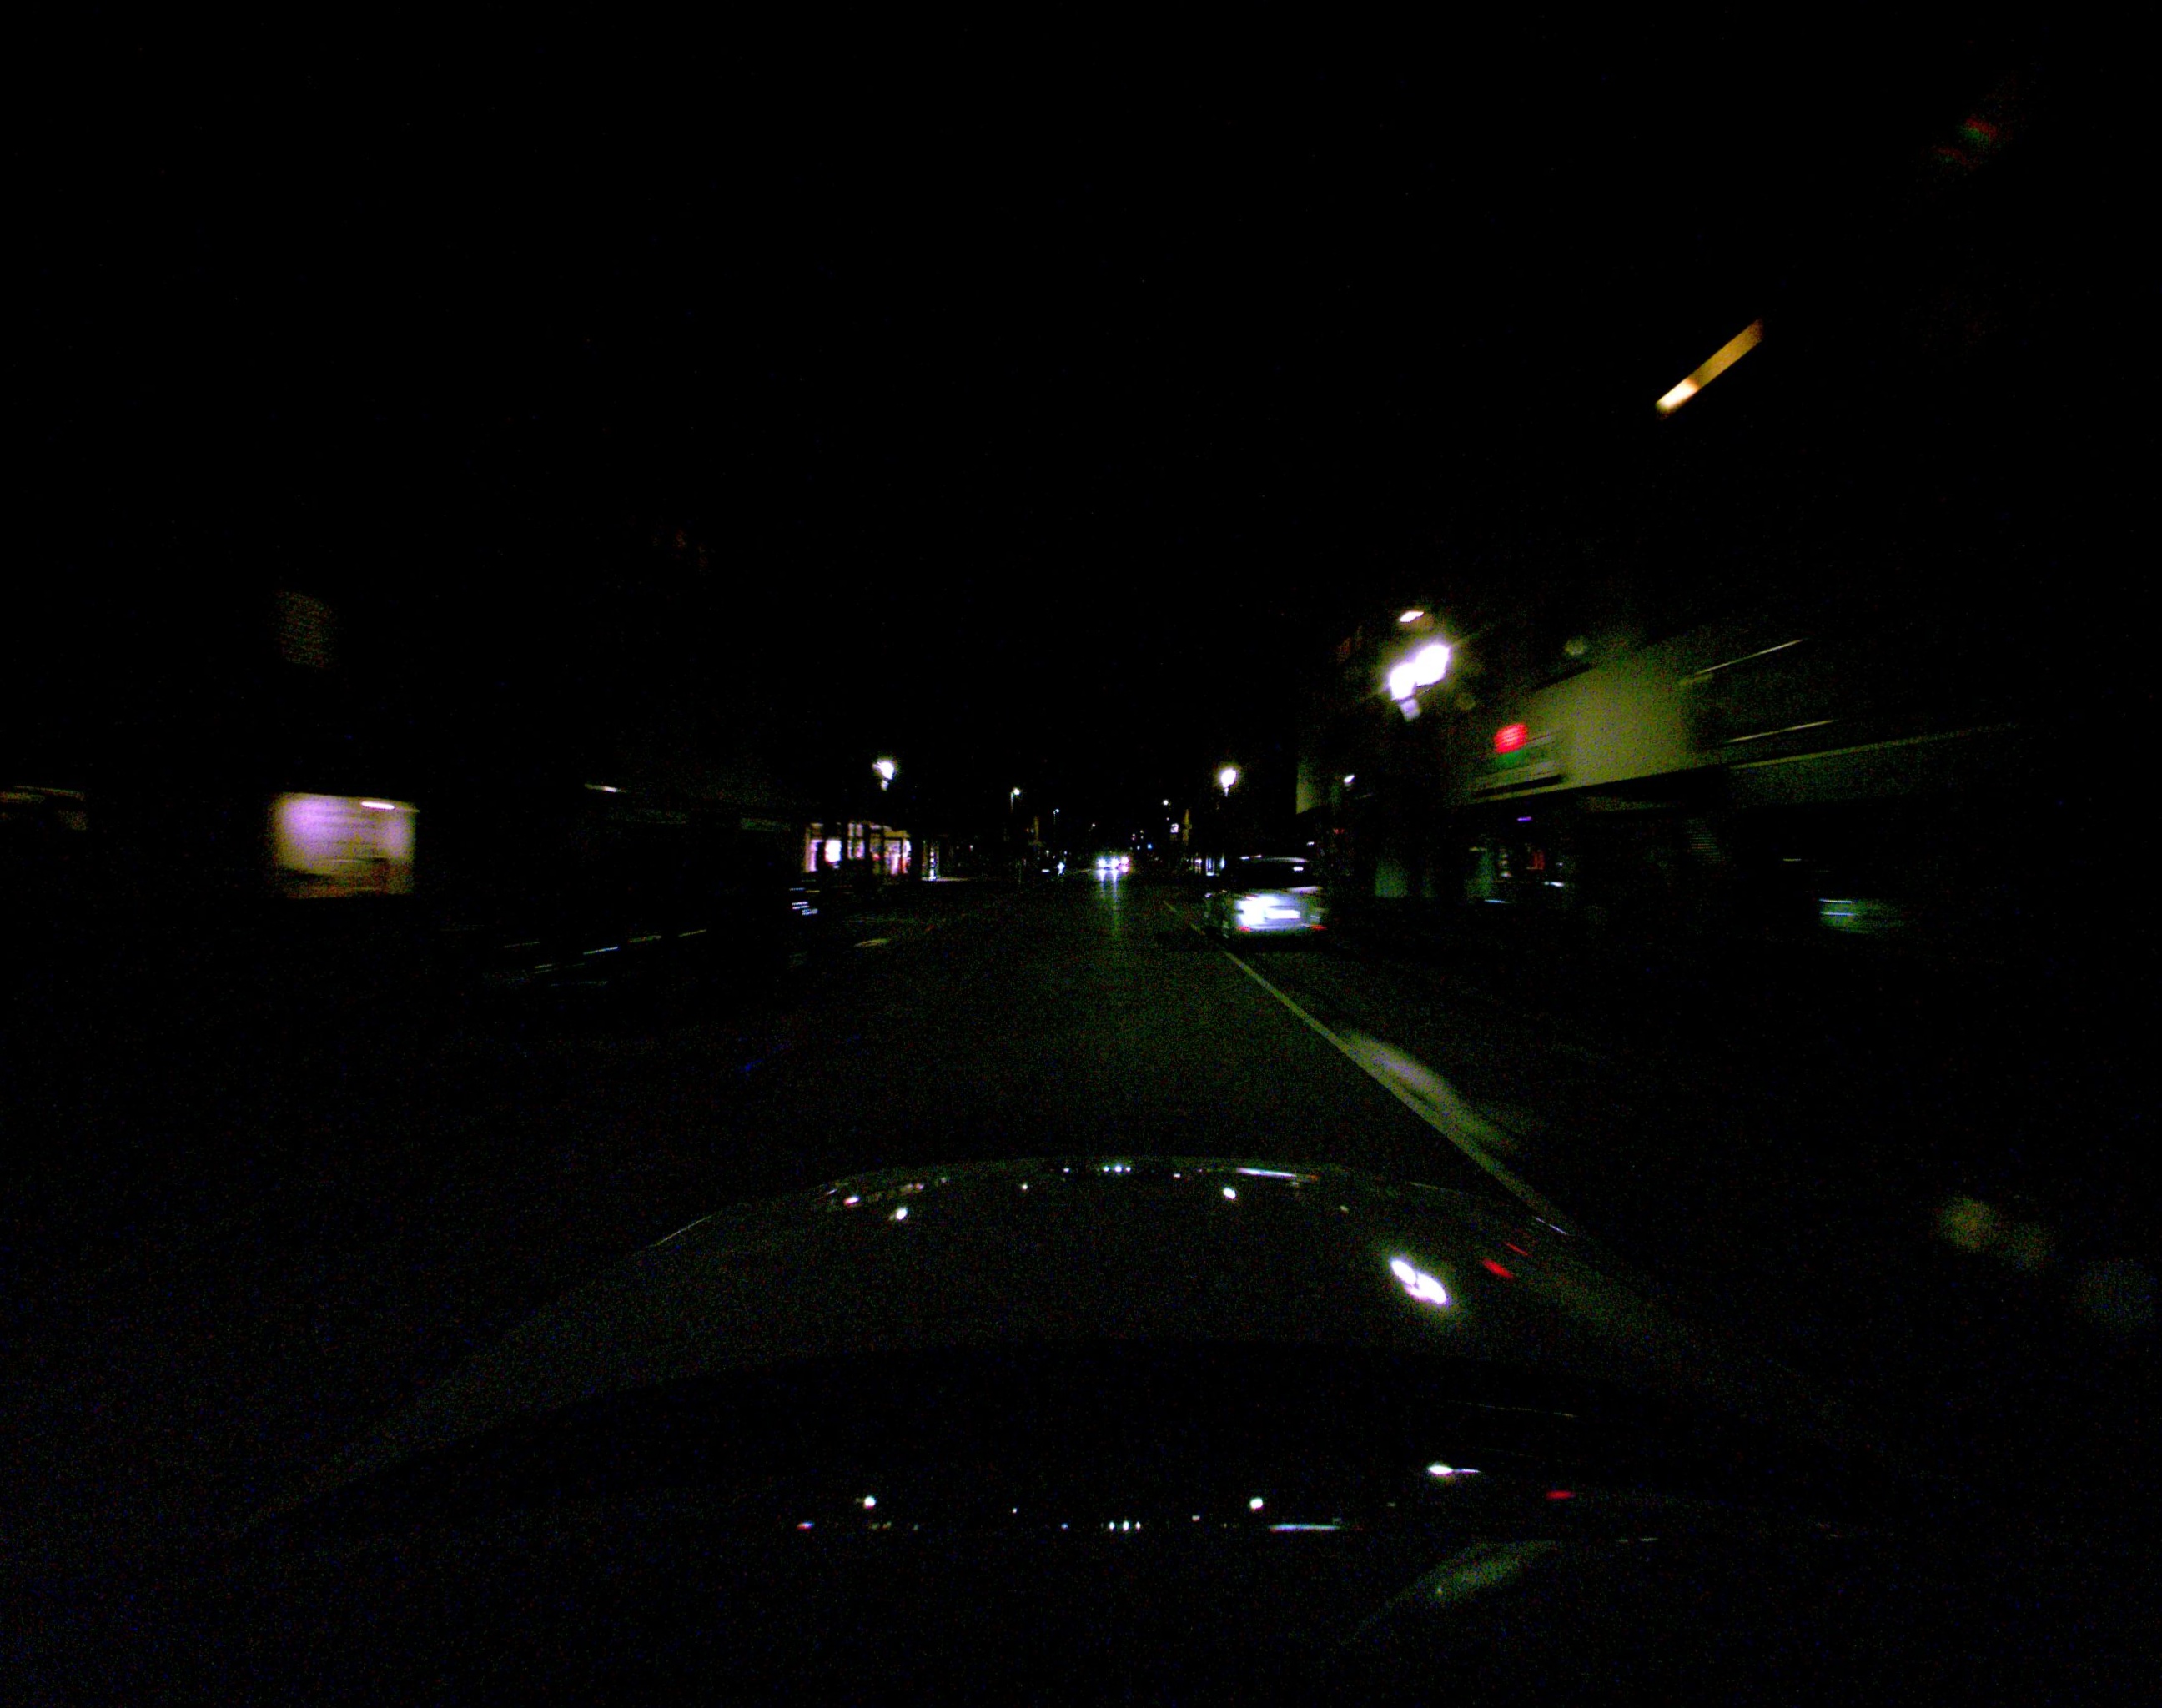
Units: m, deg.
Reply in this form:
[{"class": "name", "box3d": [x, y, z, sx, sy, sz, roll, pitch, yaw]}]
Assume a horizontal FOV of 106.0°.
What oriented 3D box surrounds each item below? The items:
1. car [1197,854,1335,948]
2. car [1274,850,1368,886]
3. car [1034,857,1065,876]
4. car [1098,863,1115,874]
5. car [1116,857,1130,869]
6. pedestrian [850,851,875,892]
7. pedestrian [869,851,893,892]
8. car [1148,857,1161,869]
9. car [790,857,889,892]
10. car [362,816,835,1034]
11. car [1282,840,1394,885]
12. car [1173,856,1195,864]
[{"class": "car", "box3d": [3.141, 0.757, 14.498, 1.669, 1.460, 3.675, 0, -1, 1]}, {"class": "car", "box3d": [11.581, 0.693, 39.458, 3.974, 1.477, 1.751, -4, -1, -1]}, {"class": "car", "box3d": [-2.423, 0.951, 62.998, 1.906, 1.370, 4.462, 0, 0, 4]}, {"class": "car", "box3d": [2.905, 1.654, 92.191, 1.715, 1.247, 4.241, 0, -1, 4]}, {"class": "car", "box3d": [5.587, 1.183, 108.479, 1.767, 1.652, 4.369, 0, 0, 4]}, {"class": "pedestrian", "box3d": [-9.007, 0.722, 33.653, 0.766, 1.656, 0.818, 0, 1, 3]}, {"class": "pedestrian", "box3d": [-8.233, 0.724, 33.585, 0.766, 1.656, 0.782, 0, 1, 3]}, {"class": "car", "box3d": [10.453, 1.269, 116.215, 1.767, 1.652, 4.368, 0, 0, 4]}, {"class": "car", "box3d": [-11.644, 0.976, 39.467, 4.147, 1.438, 1.843, -3, -1, 5]}, {"class": "car", "box3d": [-4.648, 0.596, 9.053, 2.009, 1.691, 5.006, 2, -1, 3]}, {"class": "car", "box3d": [10.753, 0.333, 34.285, 4.065, 1.581, 1.815, -4, 0, -1]}, {"class": "car", "box3d": [18.786, 1.146, 148.943, 3.964, 1.417, 2.004, 0, -2, 8]}]
